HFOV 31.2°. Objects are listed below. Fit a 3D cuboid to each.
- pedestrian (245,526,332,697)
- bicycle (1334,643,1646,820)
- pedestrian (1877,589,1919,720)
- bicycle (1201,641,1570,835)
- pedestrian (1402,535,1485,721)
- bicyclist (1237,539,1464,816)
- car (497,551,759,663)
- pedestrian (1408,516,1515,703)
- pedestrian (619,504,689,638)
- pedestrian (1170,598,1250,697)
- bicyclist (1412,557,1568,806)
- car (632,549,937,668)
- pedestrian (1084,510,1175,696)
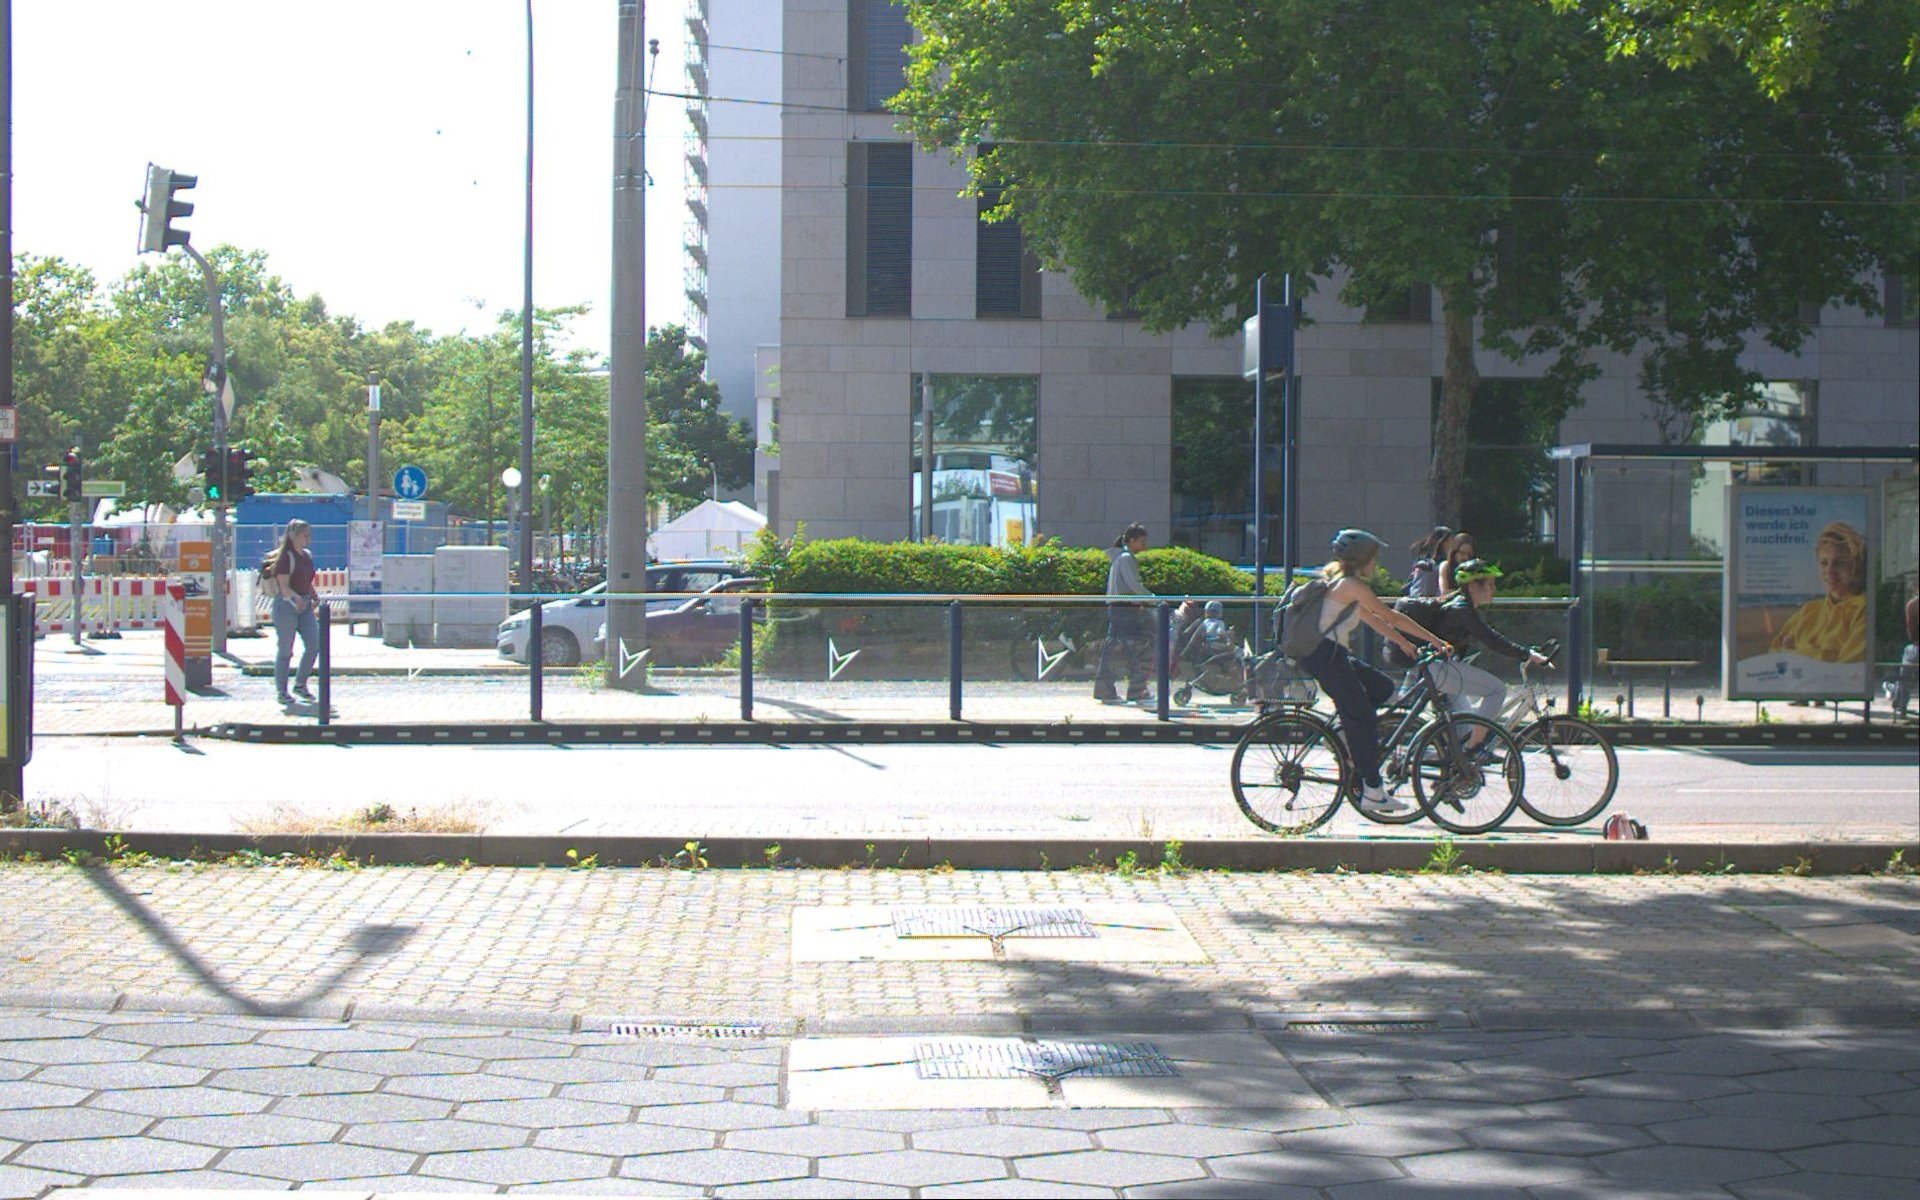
[{"bbox_3d":[-6.127,0.099,31.395,0.650,1.535,0.503,1,1,7],"label":"pedestrian"},{"bbox_3d":[3.328,0.824,21.658,1.861,1.078,0.525,1,1,-3],"label":"bicycle"},{"bbox_3d":[8.388,0.475,30.277,0.499,1.134,0.524,1,1,4],"label":"pedestrian"},{"bbox_3d":[2.461,0.796,19.960,2.019,1.078,0.640,0,1,-7],"label":"bicycle"},{"bbox_3d":[4.212,0.237,29.975,0.584,1.586,0.670,0,2,-3],"label":"pedestrian"},{"bbox_3d":[2.254,0.438,19.909,1.169,1.575,0.640,0,1,-8],"label":"bicyclist"},{"bbox_3d":[-4.787,0.092,49.364,3.681,1.546,1.592,0,1,-7],"label":"car"},{"bbox_3d":[4.557,0.077,31.276,0.932,1.677,0.503,1,1,7],"label":"pedestrian"},{"bbox_3d":[-5.168,-0.493,58.180,1.108,2.240,1.103,1,1,-2],"label":"pedestrian"},{"bbox_3d":[2.275,0.426,31.252,0.691,0.877,0.503,1,1,7],"label":"pedestrian"},{"bbox_3d":[3.335,0.507,21.672,0.862,1.539,0.535,1,0,-2],"label":"bicyclist"},{"bbox_3d":[-2.398,0.110,46.430,3.986,1.546,1.703,0,1,-7],"label":"car"},{"bbox_3d":[1.549,0.023,31.336,0.777,1.677,0.503,1,1,7],"label":"pedestrian"}]
